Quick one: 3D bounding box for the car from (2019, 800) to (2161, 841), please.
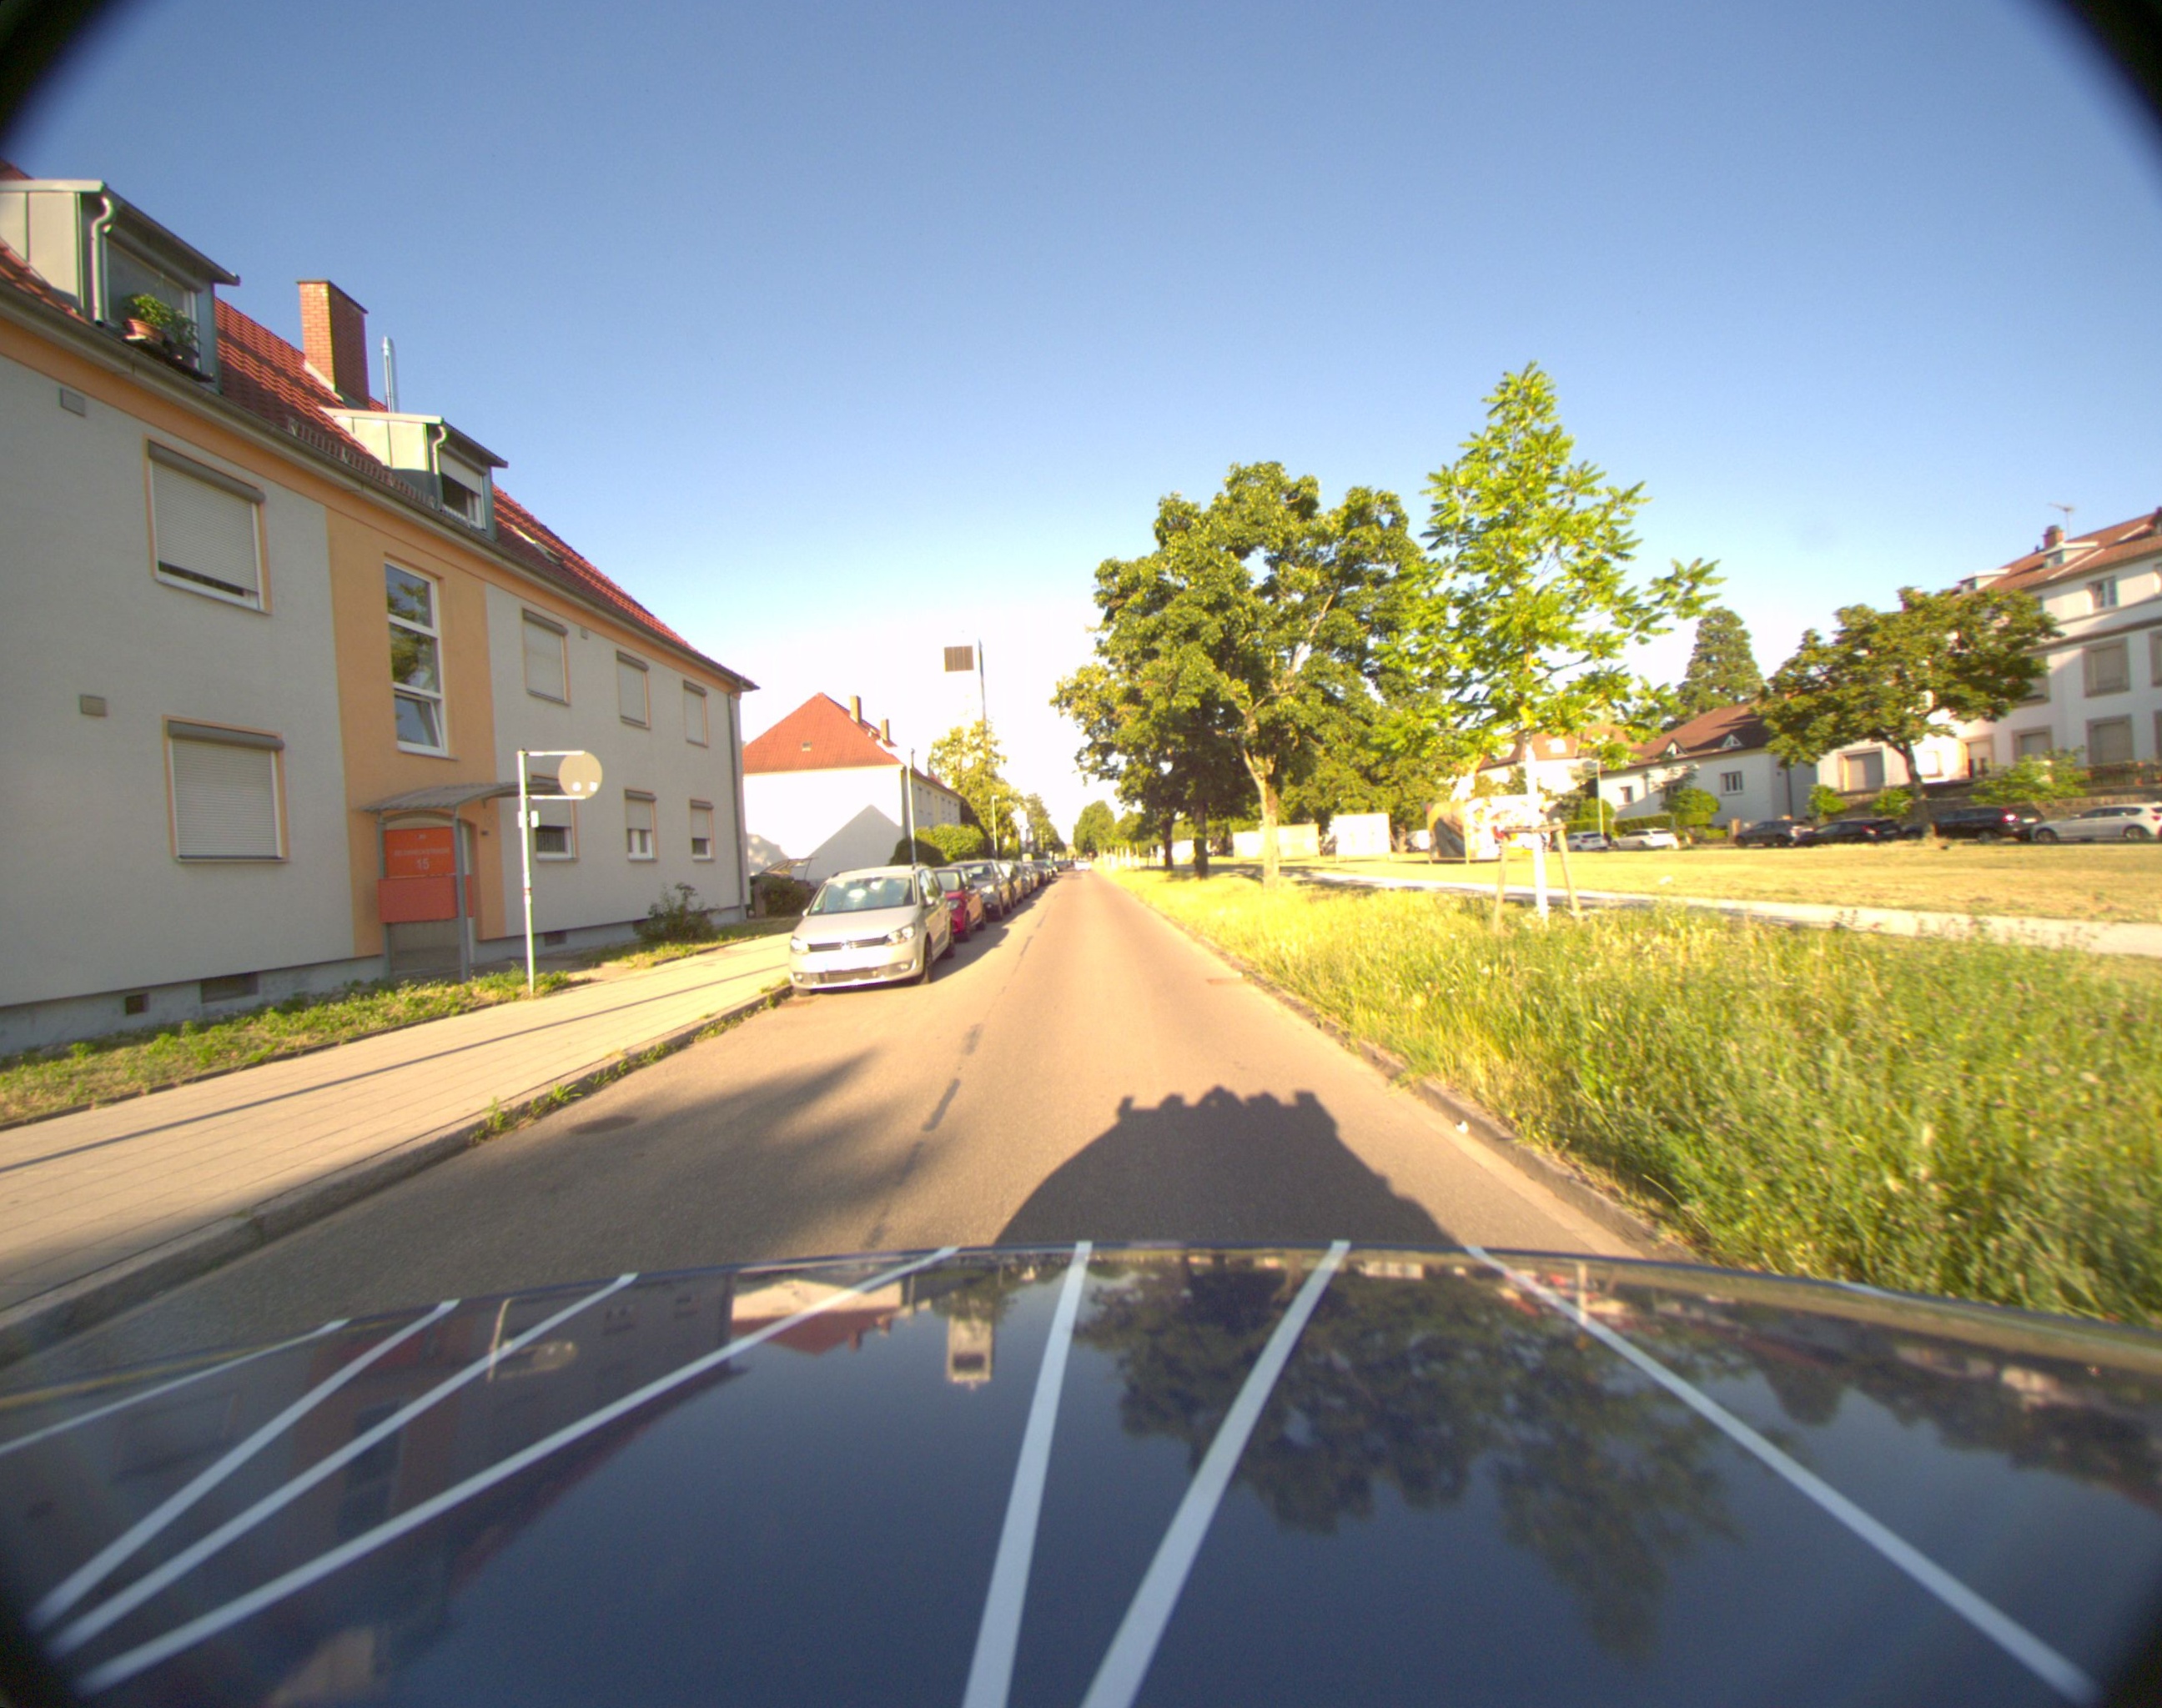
[{"bbox_3d":[40.025,-1.269,29.727,1.641,1.437,4.008,-2,0,-1],"label":"car"}]

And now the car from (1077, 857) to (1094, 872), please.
[{"bbox_3d":[0.517,1.314,95.518,1.870,1.686,4.299,-5,0,-2],"label":"car"}]

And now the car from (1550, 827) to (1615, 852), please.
[{"bbox_3d":[34.283,-0.975,52.049,1.825,1.571,3.836,-3,0,0],"label":"car"}]

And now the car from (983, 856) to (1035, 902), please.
[{"bbox_3d":[-3.045,1.003,32.760,1.850,1.686,3.999,-5,0,-2],"label":"car"}]

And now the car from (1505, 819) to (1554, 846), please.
[{"bbox_3d":[39.823,-1.917,67.587,1.998,2.201,4.131,-3,0,3],"label":"car"}]

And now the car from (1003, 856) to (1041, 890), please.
[{"bbox_3d":[-3.322,1.069,43.596,1.850,1.686,3.999,-5,0,-2],"label":"car"}]

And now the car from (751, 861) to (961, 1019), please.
[{"bbox_3d":[-3.009,1.052,11.113,1.850,1.686,3.999,-5,0,-2],"label":"car"}]

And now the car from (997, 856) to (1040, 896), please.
[{"bbox_3d":[-3.084,1.053,38.144,1.850,1.686,3.999,-5,0,-2],"label":"car"}]

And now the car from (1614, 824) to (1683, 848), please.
[{"bbox_3d":[40.029,-1.231,53.703,1.825,1.571,3.967,-3,0,0],"label":"car"}]

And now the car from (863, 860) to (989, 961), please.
[{"bbox_3d":[-3.147,1.071,16.223,1.850,1.686,3.999,-5,0,-2],"label":"car"}]

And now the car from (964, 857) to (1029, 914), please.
[{"bbox_3d":[-2.937,1.050,27.228,1.850,1.686,3.999,-5,0,-2],"label":"car"}]

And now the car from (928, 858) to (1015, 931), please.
[{"bbox_3d":[-2.945,1.035,21.318,1.850,1.686,3.999,-5,0,-2],"label":"car"}]

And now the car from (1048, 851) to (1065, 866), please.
[{"bbox_3d":[-3.042,0.574,93.821,1.850,1.686,3.999,-5,0,-2],"label":"car"}]

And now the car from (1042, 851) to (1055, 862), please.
[{"bbox_3d":[-5.149,0.389,119.828,1.850,1.686,3.999,-5,0,-2],"label":"car"}]

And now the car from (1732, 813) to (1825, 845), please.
[{"bbox_3d":[39.507,-1.366,43.195,1.642,1.652,4.000,-3,0,2],"label":"car"}]

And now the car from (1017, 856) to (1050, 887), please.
[{"bbox_3d":[-2.992,1.076,48.288,1.850,1.686,3.999,-5,0,-2],"label":"car"}]

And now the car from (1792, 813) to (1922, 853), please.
[{"bbox_3d":[34.383,-0.905,33.835,1.825,1.571,3.836,-3,0,0],"label":"car"}]

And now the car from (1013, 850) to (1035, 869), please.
[{"bbox_3d":[-5.566,0.522,74.122,1.850,1.686,3.999,-5,0,-2],"label":"car"}]

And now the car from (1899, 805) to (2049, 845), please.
[{"bbox_3d":[40.028,-1.255,34.233,1.825,1.571,4.162,-3,0,0],"label":"car"}]
